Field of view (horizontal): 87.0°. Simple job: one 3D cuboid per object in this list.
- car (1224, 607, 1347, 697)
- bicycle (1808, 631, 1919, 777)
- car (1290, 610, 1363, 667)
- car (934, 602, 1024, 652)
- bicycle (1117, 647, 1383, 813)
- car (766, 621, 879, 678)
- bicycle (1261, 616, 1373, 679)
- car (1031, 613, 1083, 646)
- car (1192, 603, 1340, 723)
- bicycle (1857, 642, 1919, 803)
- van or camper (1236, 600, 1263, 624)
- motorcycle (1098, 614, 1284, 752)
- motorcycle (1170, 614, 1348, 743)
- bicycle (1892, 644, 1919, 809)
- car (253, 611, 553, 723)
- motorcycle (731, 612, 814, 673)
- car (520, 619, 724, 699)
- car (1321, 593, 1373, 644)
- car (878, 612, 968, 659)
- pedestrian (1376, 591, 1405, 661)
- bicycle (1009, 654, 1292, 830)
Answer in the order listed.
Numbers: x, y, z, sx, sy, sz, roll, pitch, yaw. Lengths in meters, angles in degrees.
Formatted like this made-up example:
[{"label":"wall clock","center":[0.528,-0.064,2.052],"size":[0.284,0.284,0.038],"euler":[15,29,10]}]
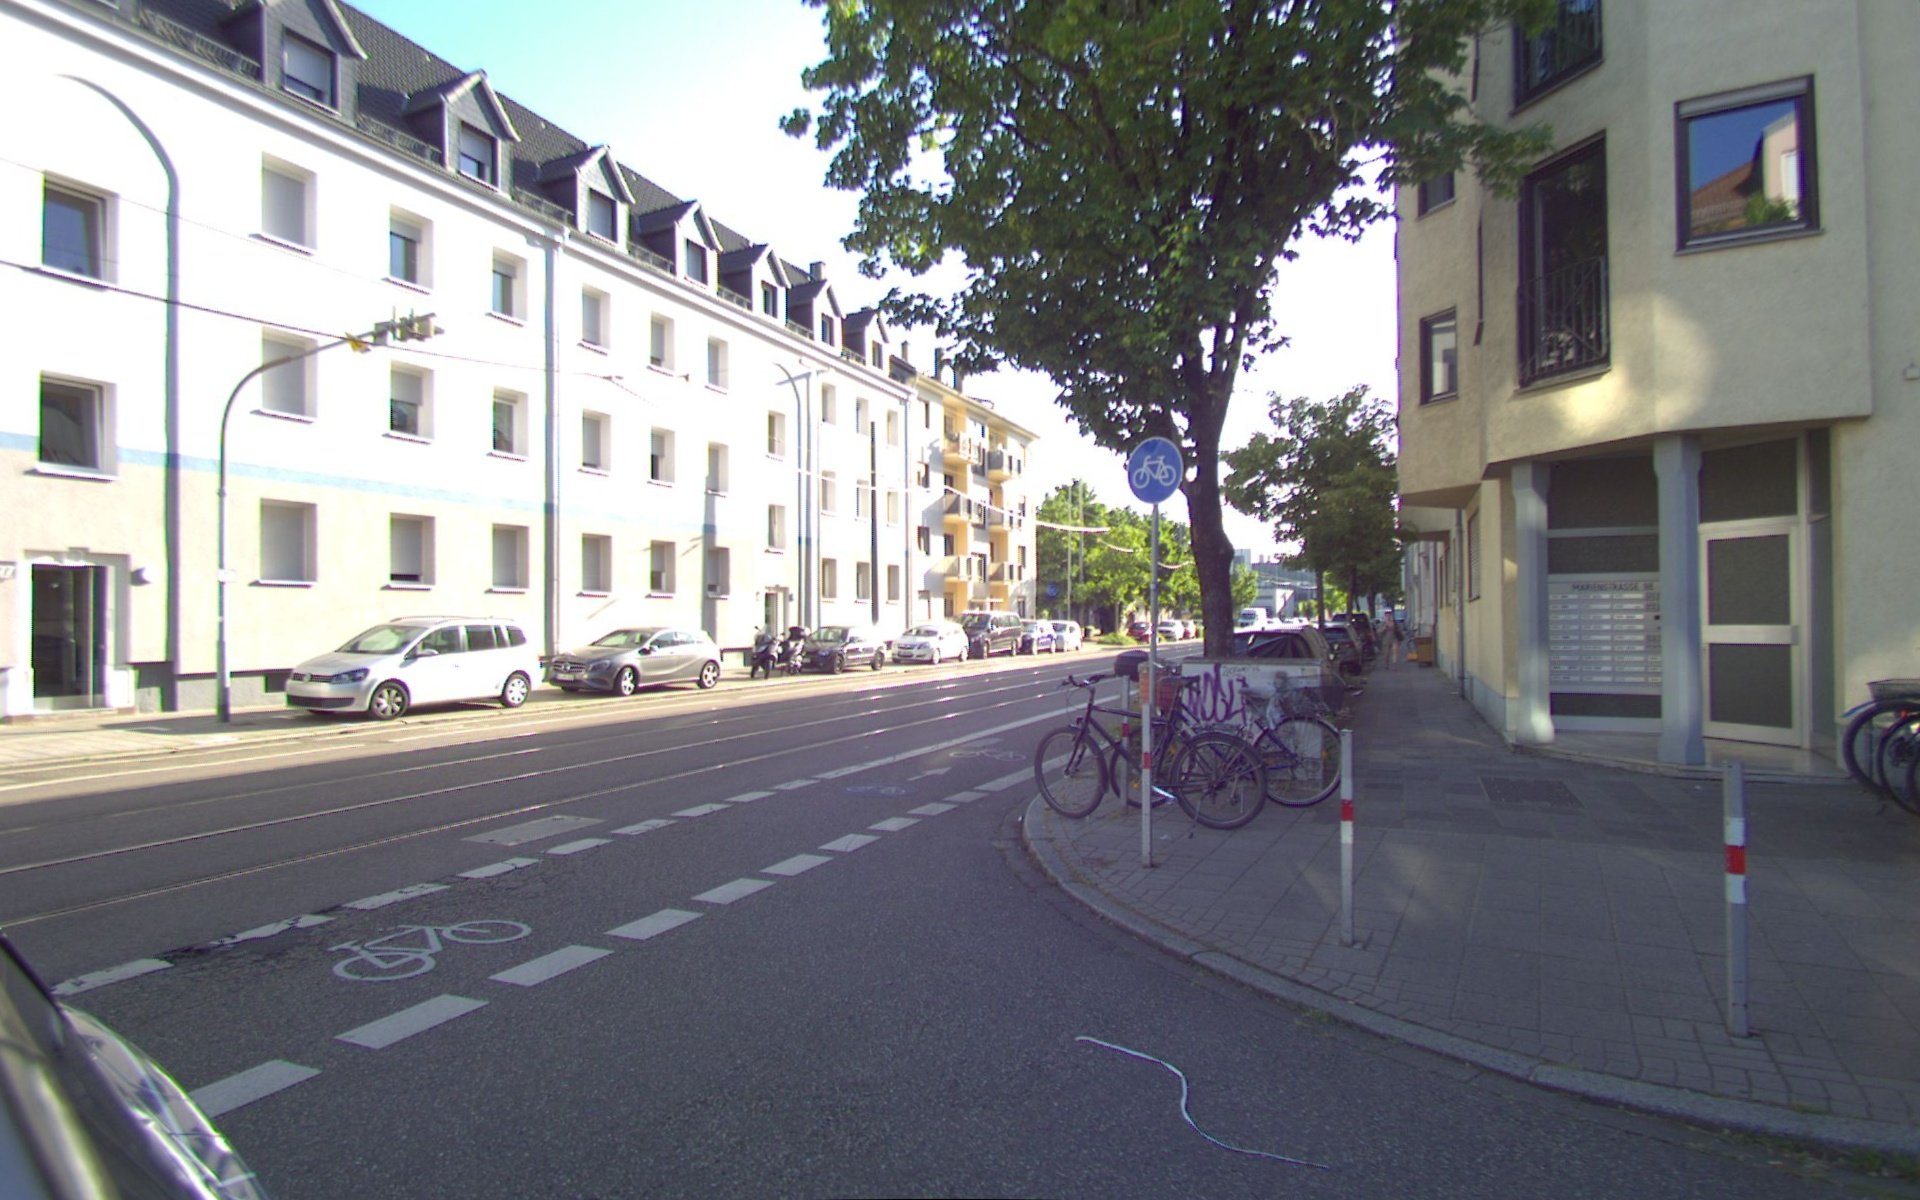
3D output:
[{"label":"car","center":[6.540,0.959,20.027],"size":[1.761,1.554,4.693],"euler":[-1,-1,25]},{"label":"bicycle","center":[7.222,0.757,7.468],"size":[1.384,1.054,0.330],"euler":[-3,-2,22]},{"label":"car","center":[10.949,1.112,30.069],"size":[1.759,1.484,4.010],"euler":[-4,-2,23]},{"label":"car","center":[0.874,1.074,41.866],"size":[1.924,1.935,4.962],"euler":[1,-1,25]},{"label":"bicycle","center":[2.115,0.900,7.452],"size":[1.802,1.093,0.590],"euler":[-1,-1,26]},{"label":"car","center":[-4.125,1.457,31.004],"size":[1.605,1.583,3.871],"euler":[1,-1,25]},{"label":"bicycle","center":[7.897,1.039,22.418],"size":[2.286,1.344,0.694],"euler":[-1,-1,24]},{"label":"car","center":[4.914,1.447,51.034],"size":[1.549,1.554,3.603],"euler":[1,-1,24]},{"label":"car","center":[4.756,0.841,15.358],"size":[1.730,1.554,4.097],"euler":[-1,-1,23]},{"label":"bicycle","center":[6.921,0.803,6.704],"size":[1.384,1.054,0.330],"euler":[-3,-2,22]},{"label":"van or camper","center":[32.722,1.355,114.297],"size":[2.080,2.583,5.644],"euler":[-2,-1,25]},{"label":"motorcycle","center":[2.586,0.898,11.356],"size":[1.958,1.458,0.716],"euler":[-1,-1,18]},{"label":"motorcycle","center":[3.557,0.908,12.140],"size":[1.958,1.458,0.831],"euler":[-1,-1,18]},{"label":"bicycle","center":[6.841,0.795,6.348],"size":[1.384,1.054,0.330],"euler":[-3,-2,22]},{"label":"car","center":[-9.547,1.045,17.836],"size":[1.748,1.678,4.594],"euler":[1,-1,21]},{"label":"motorcycle","center":[-5.056,1.122,27.541],"size":[0.803,1.533,2.686],"euler":[1,0,24]},{"label":"car","center":[-7.395,1.223,22.611],"size":[1.859,1.566,4.329],"euler":[1,-1,25]},{"label":"car","center":[15.741,0.753,41.248],"size":[1.758,1.859,4.392],"euler":[-4,-2,21]},{"label":"car","center":[-1.282,1.252,36.882],"size":[1.795,1.583,3.874],"euler":[1,-1,23]},{"label":"pedestrian","center":[11.848,0.708,27.864],"size":[0.690,1.877,0.903],"euler":[-1,-1,23]},{"label":"bicycle","center":[1.320,0.940,7.144],"size":[1.873,1.093,0.590],"euler":[-1,-1,26]}]
